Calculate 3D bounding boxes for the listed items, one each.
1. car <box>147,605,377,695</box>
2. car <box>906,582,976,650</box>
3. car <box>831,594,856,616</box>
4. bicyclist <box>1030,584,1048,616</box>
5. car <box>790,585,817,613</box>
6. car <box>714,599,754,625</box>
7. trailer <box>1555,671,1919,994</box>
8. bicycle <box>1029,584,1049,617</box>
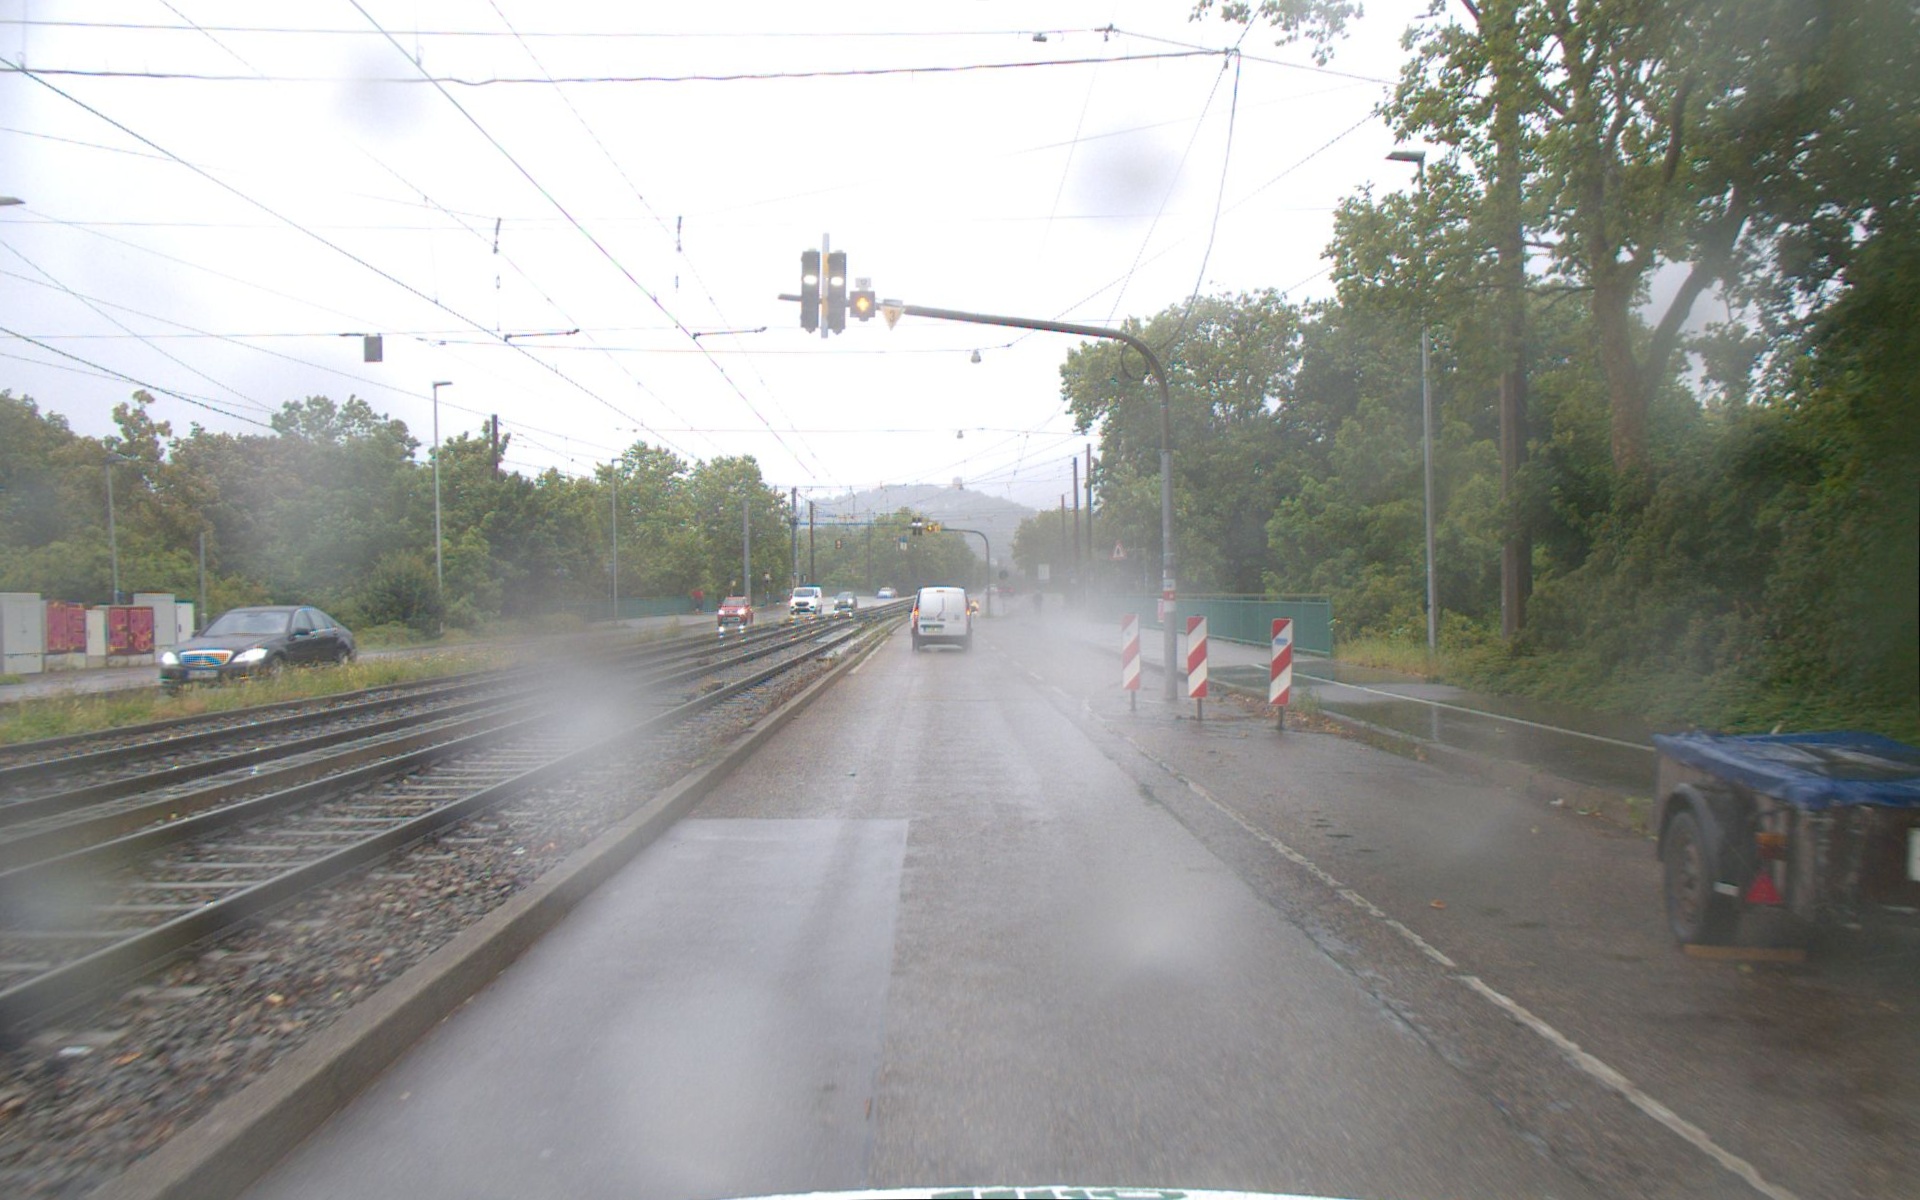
[{"bbox_3d":[-12.389,0.827,29.806,1.953,1.429,5.384,-1,0,-1],"label":"car"},{"bbox_3d":[-0.542,0.449,48.213,1.953,1.881,4.000,0,0,0],"label":"car"},{"bbox_3d":[-10.671,0.490,151.348,1.952,1.982,4.000,0,-1,0],"label":"car"},{"bbox_3d":[5.070,0.024,106.120,1.078,2.049,1.674,0,-1,-1],"label":"bicyclist"},{"bbox_3d":[-11.902,-0.033,125.460,1.955,2.049,3.994,0,-1,-6],"label":"car"},{"bbox_3d":[-12.836,0.662,94.020,1.782,1.422,3.999,-1,0,-1],"label":"car"},{"bbox_3d":[3.983,0.959,7.936,1.348,1.064,3.444,1,0,6],"label":"trailer"},{"bbox_3d":[5.060,0.034,106.139,1.083,2.049,3.050,0,-1,-1],"label":"bicycle"}]
